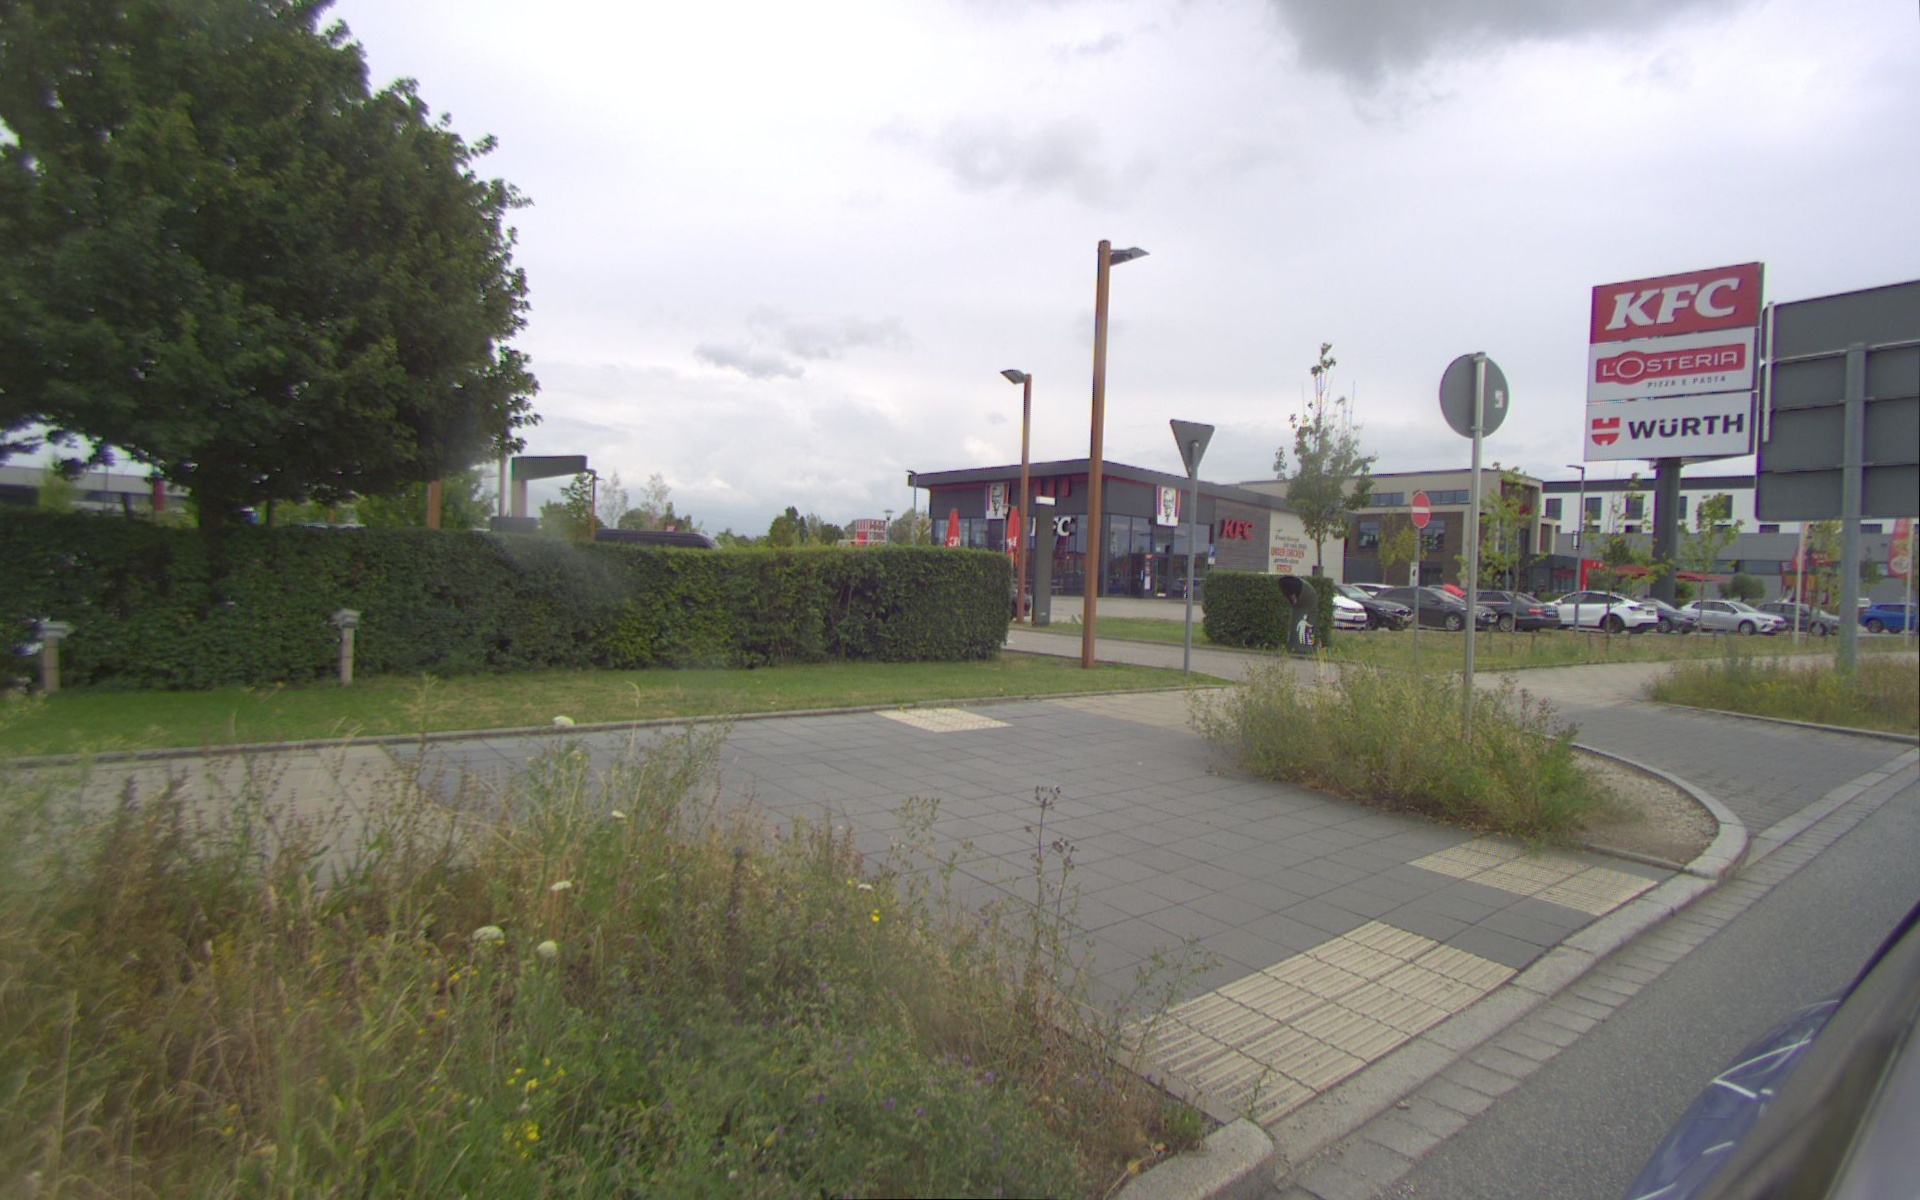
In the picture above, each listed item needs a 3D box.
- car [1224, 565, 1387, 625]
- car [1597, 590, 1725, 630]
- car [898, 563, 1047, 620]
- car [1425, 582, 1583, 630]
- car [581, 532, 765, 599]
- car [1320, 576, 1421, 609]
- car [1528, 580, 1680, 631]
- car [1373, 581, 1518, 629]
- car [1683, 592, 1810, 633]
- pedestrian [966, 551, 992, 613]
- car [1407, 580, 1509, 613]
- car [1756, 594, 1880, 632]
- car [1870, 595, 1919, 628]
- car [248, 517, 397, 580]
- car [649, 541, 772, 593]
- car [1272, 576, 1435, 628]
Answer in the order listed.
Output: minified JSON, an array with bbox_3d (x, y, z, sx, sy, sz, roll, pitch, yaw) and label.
[{"bbox_3d":[10.523,-0.188,31.084,1.902,1.660,4.359,1,1,-38],"label":"car"},{"bbox_3d":[29.407,0.385,42.594,1.900,1.503,4.009,0,2,-24],"label":"car"},{"bbox_3d":[0.309,-0.246,26.893,3.776,1.329,1.818,2,1,-1],"label":"car"},{"bbox_3d":[19.360,0.179,36.217,1.992,1.487,4.536,1,1,-33],"label":"car"},{"bbox_3d":[-12.195,-1.471,43.297,7.193,2.533,2.280,2,1,2],"label":"car"},{"bbox_3d":[21.962,-0.399,54.248,2.042,1.537,4.576,1,2,-37],"label":"car"},{"bbox_3d":[25.243,0.175,39.856,2.046,1.665,4.585,1,3,-28],"label":"car"},{"bbox_3d":[16.708,0.143,35.003,1.905,1.456,4.099,1,2,-34],"label":"car"},{"bbox_3d":[34.055,0.506,43.917,1.862,1.499,3.884,1,3,-23],"label":"car"},{"bbox_3d":[0.586,-0.542,30.655,0.467,1.828,0.793,2,1,26],"label":"pedestrian"},{"bbox_3d":[27.145,-0.218,55.234,1.942,1.537,4.574,1,3,-39],"label":"car"},{"bbox_3d":[38.495,0.549,45.499,1.850,1.512,3.779,1,1,-21],"label":"car"},{"bbox_3d":[47.368,0.602,49.138,1.924,1.539,4.286,1,1,-19],"label":"car"},{"bbox_3d":[-28.502,-2.242,45.583,2.244,2.560,6.031,2,1,9],"label":"car"},{"bbox_3d":[-12.581,-1.648,51.105,5.574,2.380,2.540,1,1,-26],"label":"car"},{"bbox_3d":[12.534,0.027,32.520,2.035,1.454,4.483,1,1,-36],"label":"car"}]
